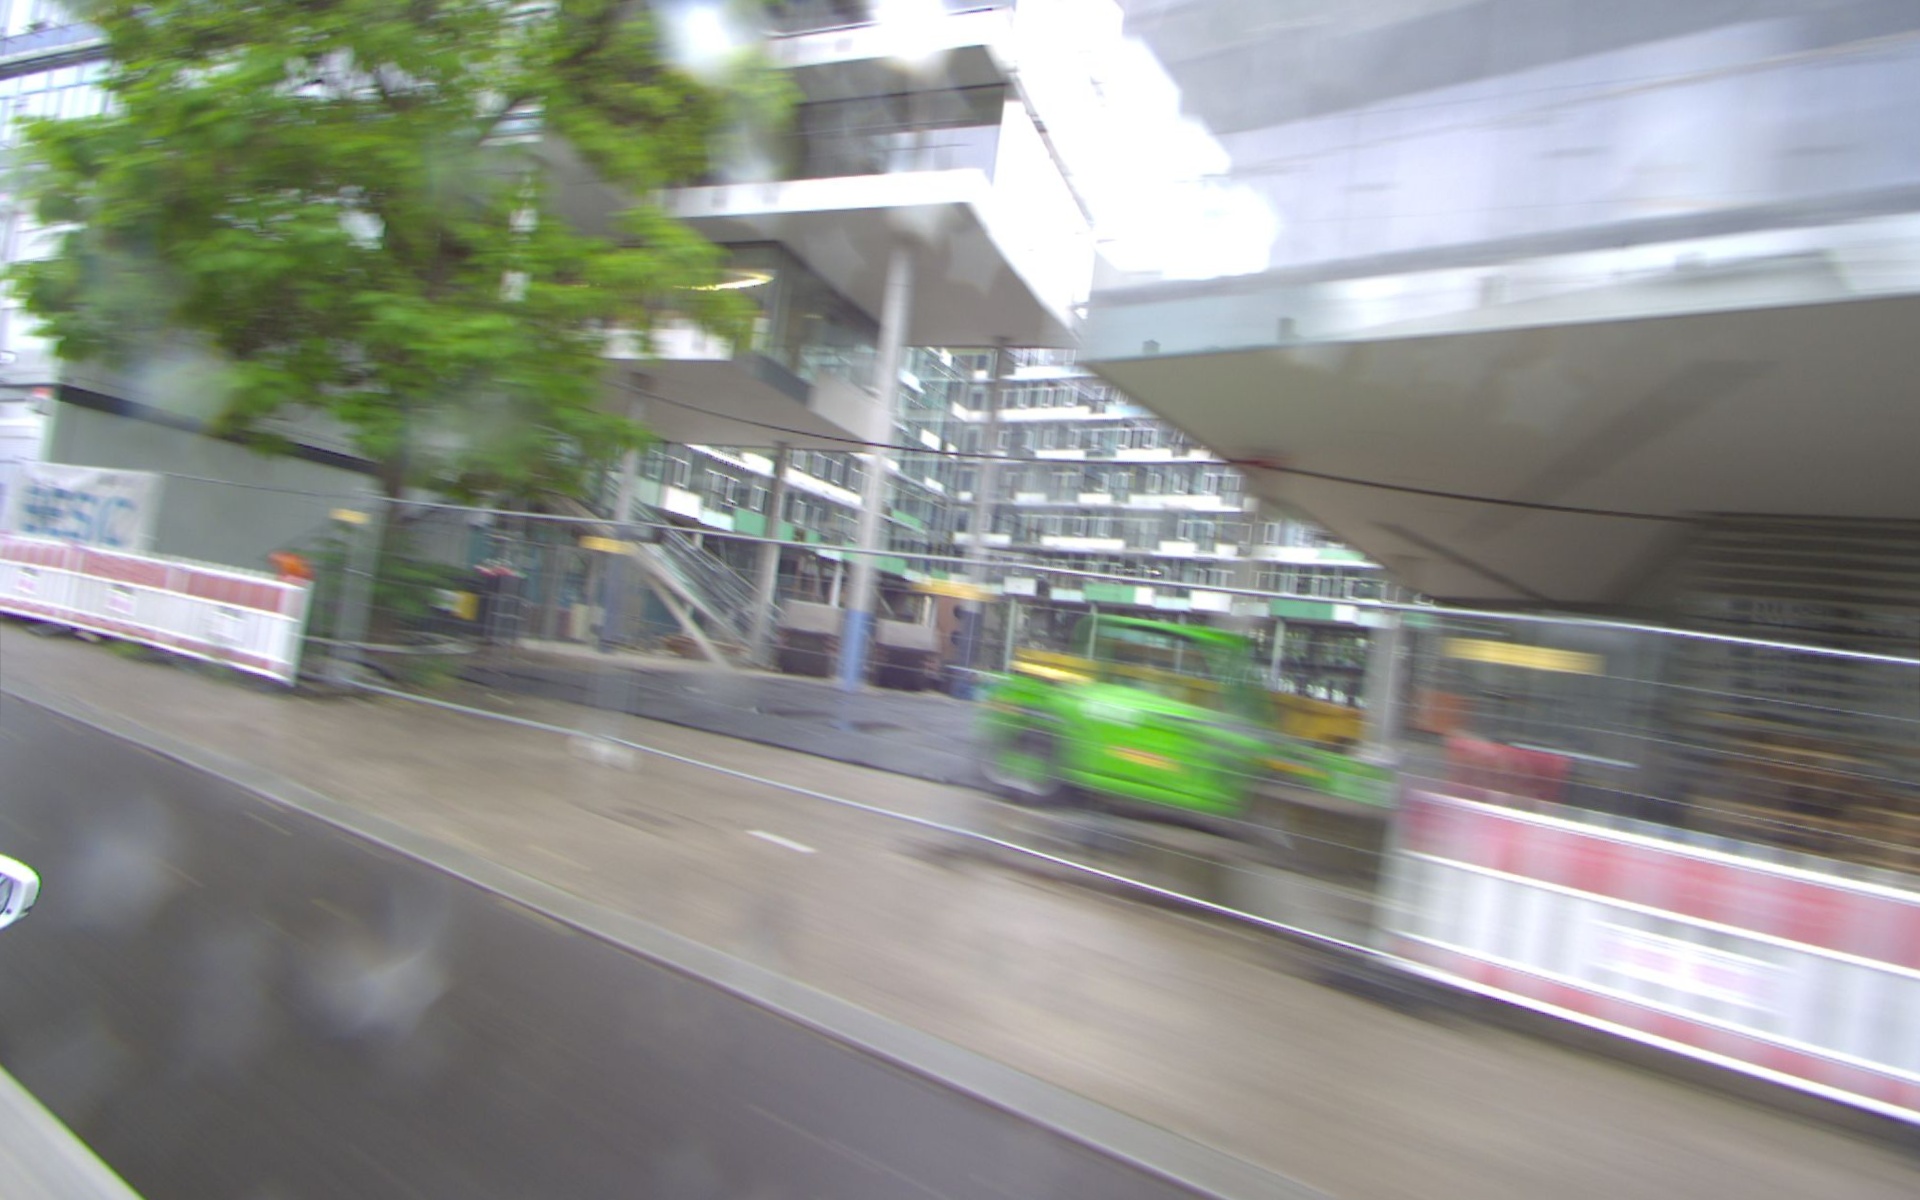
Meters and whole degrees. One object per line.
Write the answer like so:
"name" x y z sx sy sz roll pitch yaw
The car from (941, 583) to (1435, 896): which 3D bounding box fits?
"car" 2.215 1.183 9.801 4.126 2.005 2.016 8 -1 27
